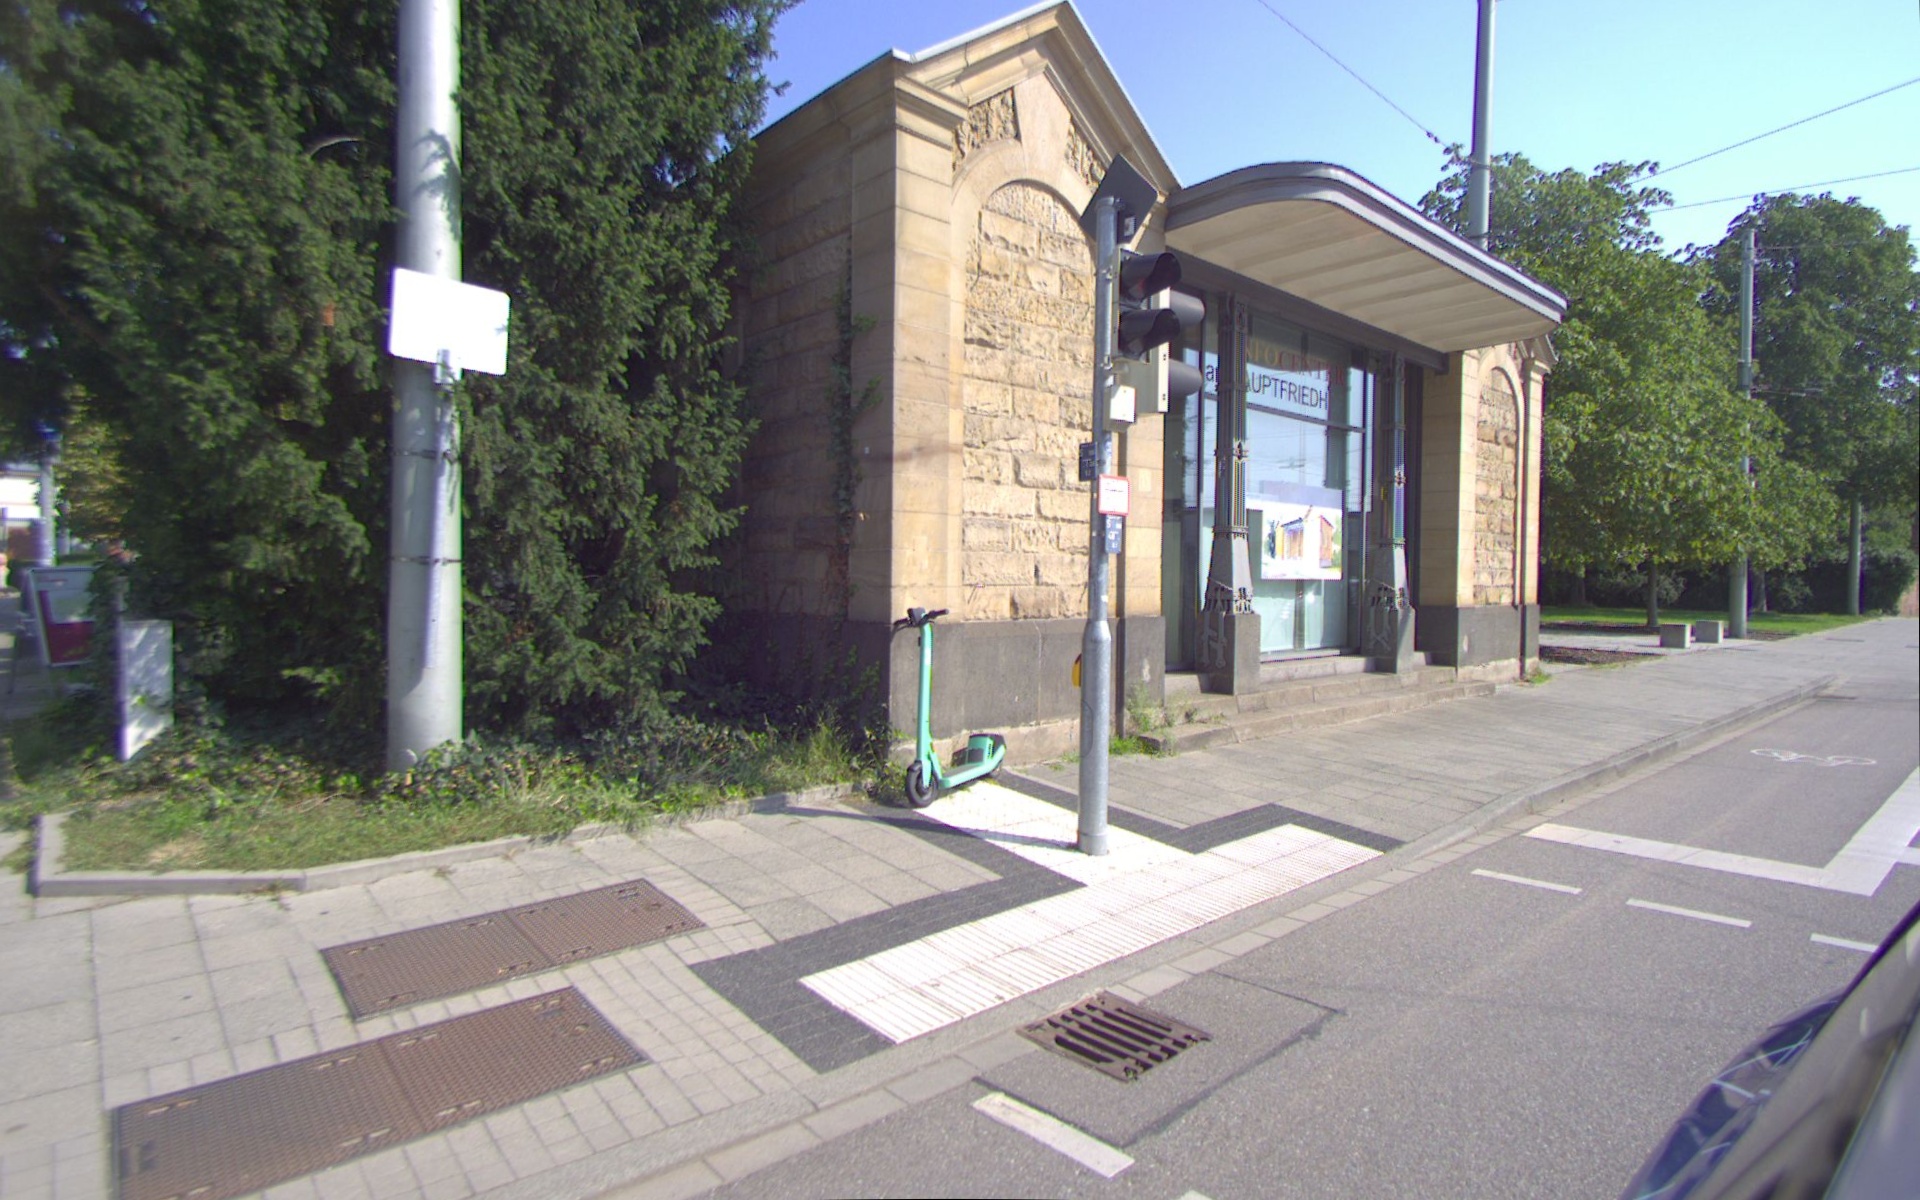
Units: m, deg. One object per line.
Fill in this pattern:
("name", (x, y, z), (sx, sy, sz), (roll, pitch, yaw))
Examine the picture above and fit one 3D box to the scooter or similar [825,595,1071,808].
("scooter or similar", (-0.042, 0.576, 6.270), (1.485, 1.147, 0.524), (2, 2, -42))
